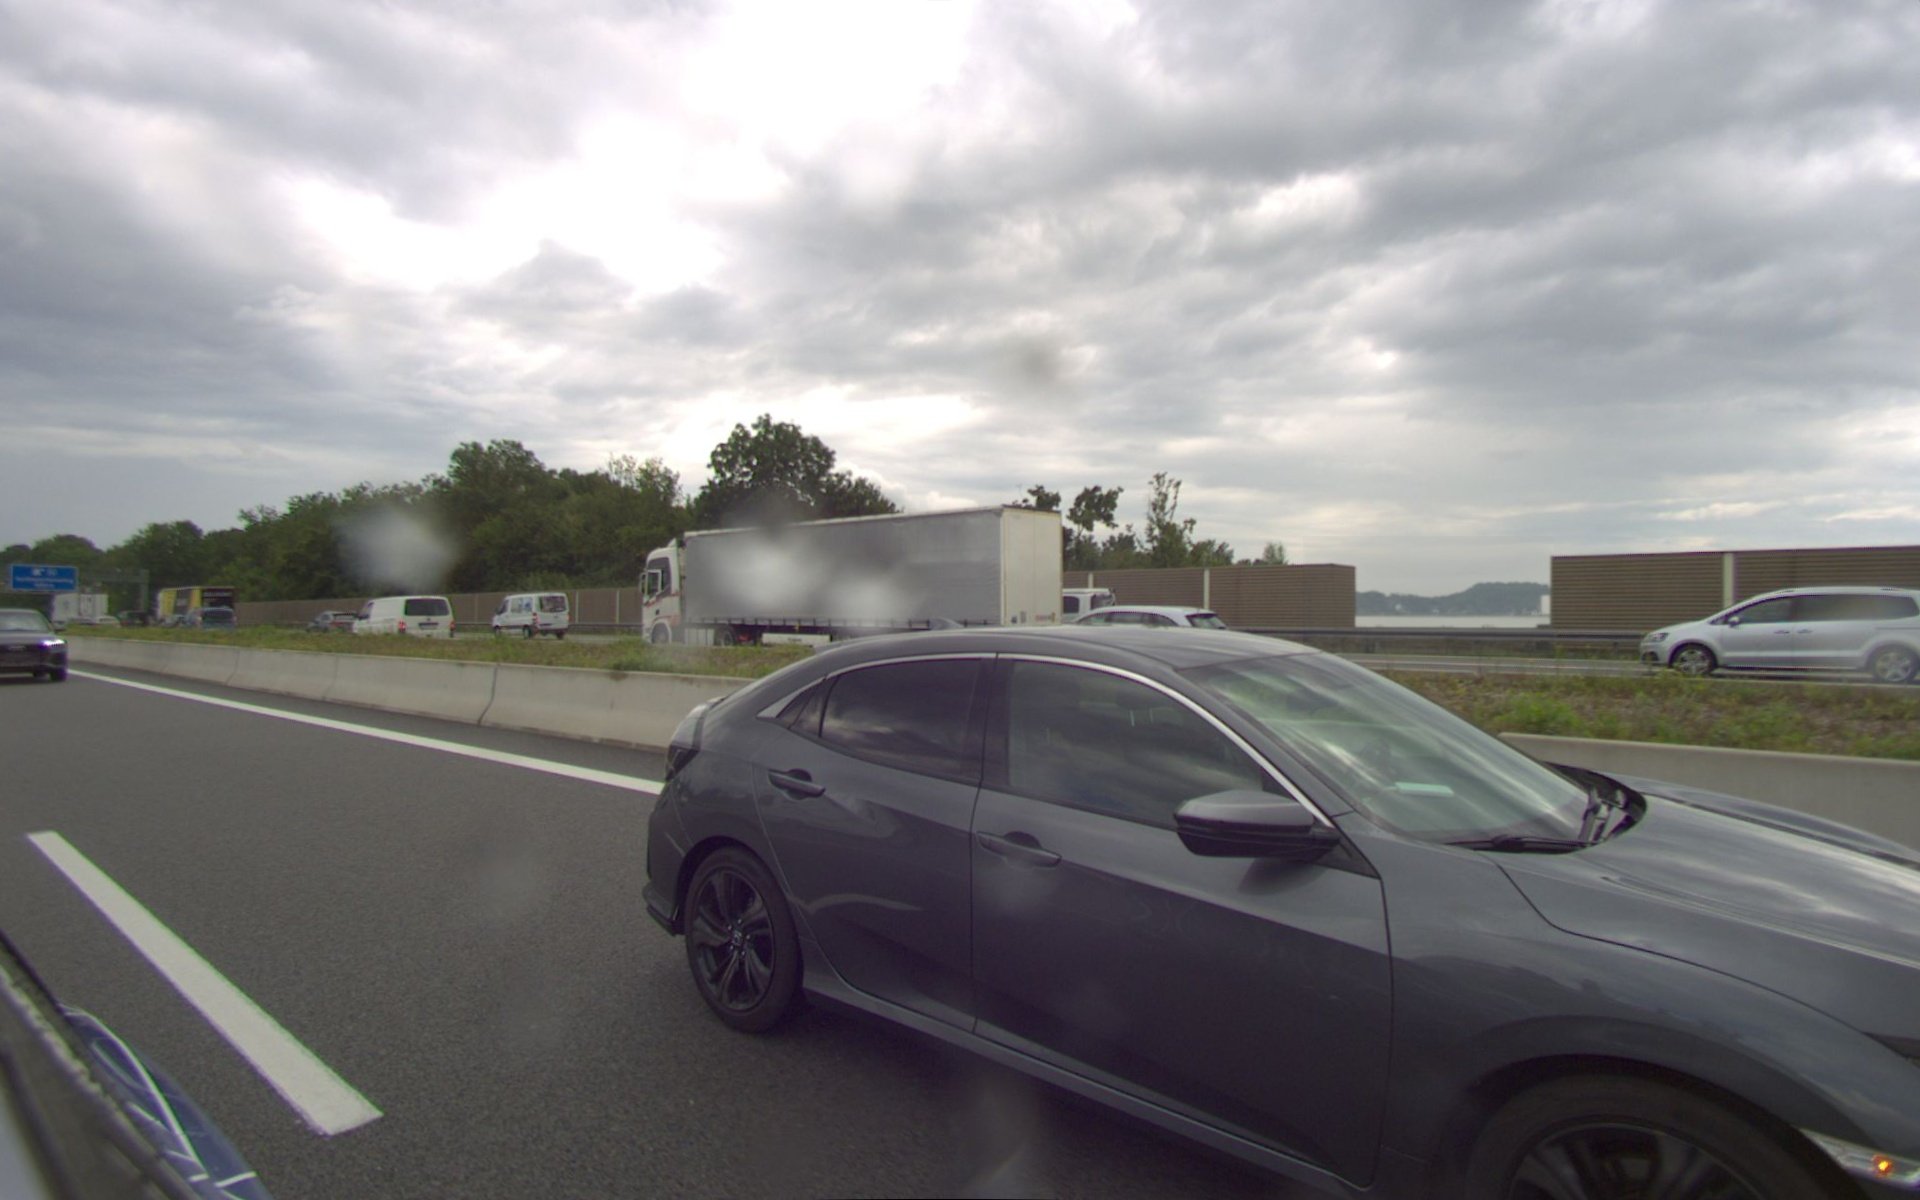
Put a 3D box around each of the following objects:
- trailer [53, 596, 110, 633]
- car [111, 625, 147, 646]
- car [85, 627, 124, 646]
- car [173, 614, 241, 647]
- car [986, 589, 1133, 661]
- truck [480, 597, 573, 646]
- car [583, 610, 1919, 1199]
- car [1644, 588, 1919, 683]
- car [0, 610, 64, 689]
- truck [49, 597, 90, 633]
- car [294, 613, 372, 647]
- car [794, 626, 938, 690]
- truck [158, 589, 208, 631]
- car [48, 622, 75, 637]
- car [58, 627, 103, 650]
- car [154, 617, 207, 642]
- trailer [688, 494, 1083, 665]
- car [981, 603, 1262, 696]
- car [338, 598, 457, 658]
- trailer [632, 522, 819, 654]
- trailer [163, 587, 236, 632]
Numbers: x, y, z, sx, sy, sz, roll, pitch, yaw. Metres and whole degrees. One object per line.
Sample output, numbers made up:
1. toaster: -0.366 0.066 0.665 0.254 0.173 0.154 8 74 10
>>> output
1. trailer: -96.170 1.599 110.658 14.043 3.915 2.697 -1 0 41
2. car: -79.321 3.373 96.576 5.036 1.909 1.747 -1 0 41
3. car: -71.953 3.048 85.091 5.237 1.548 1.747 -1 0 41
4. car: -37.338 1.481 50.136 4.480 1.548 1.747 -1 0 41
5. car: 2.945 0.725 30.484 3.999 2.029 1.981 -1 0 42
6. truck: -22.576 1.090 52.556 5.792 2.435 2.094 -1 0 40
7. car: 0.997 0.739 2.947 5.057 1.379 1.742 -1 -1 41
8. car: 15.862 0.622 18.917 4.940 1.622 1.747 -1 0 41
9. car: -22.434 1.096 23.574 5.169 1.704 1.887 -1 -1 43
10. truck: -101.183 1.681 114.971 6.000 3.915 2.697 -1 0 41
11. car: -30.825 1.451 49.684 5.157 1.548 1.747 -1 0 41
12. car: -3.695 2.146 38.975 5.794 2.210 2.094 -1 0 41
13. truck: -75.752 0.971 98.594 6.439 3.994 2.650 -1 0 41
14. car: -102.283 3.360 115.214 3.997 1.548 1.740 -1 0 41
15. car: -64.027 2.772 73.662 5.157 1.548 1.747 -1 0 41
16. car: -53.036 1.978 68.798 5.710 1.560 1.747 -1 0 41
17. trailer: -2.816 -0.412 29.868 13.282 4.092 3.284 -1 0 41
18. car: 2.957 0.869 19.382 5.157 1.548 1.747 -1 0 41
19. car: -19.480 0.924 34.927 5.157 1.914 1.903 -1 0 41
20. trailer: -8.055 -0.332 34.484 6.076 4.074 3.285 -1 0 41
21. trailer: -71.202 0.906 94.590 14.045 3.994 2.650 -1 0 41
